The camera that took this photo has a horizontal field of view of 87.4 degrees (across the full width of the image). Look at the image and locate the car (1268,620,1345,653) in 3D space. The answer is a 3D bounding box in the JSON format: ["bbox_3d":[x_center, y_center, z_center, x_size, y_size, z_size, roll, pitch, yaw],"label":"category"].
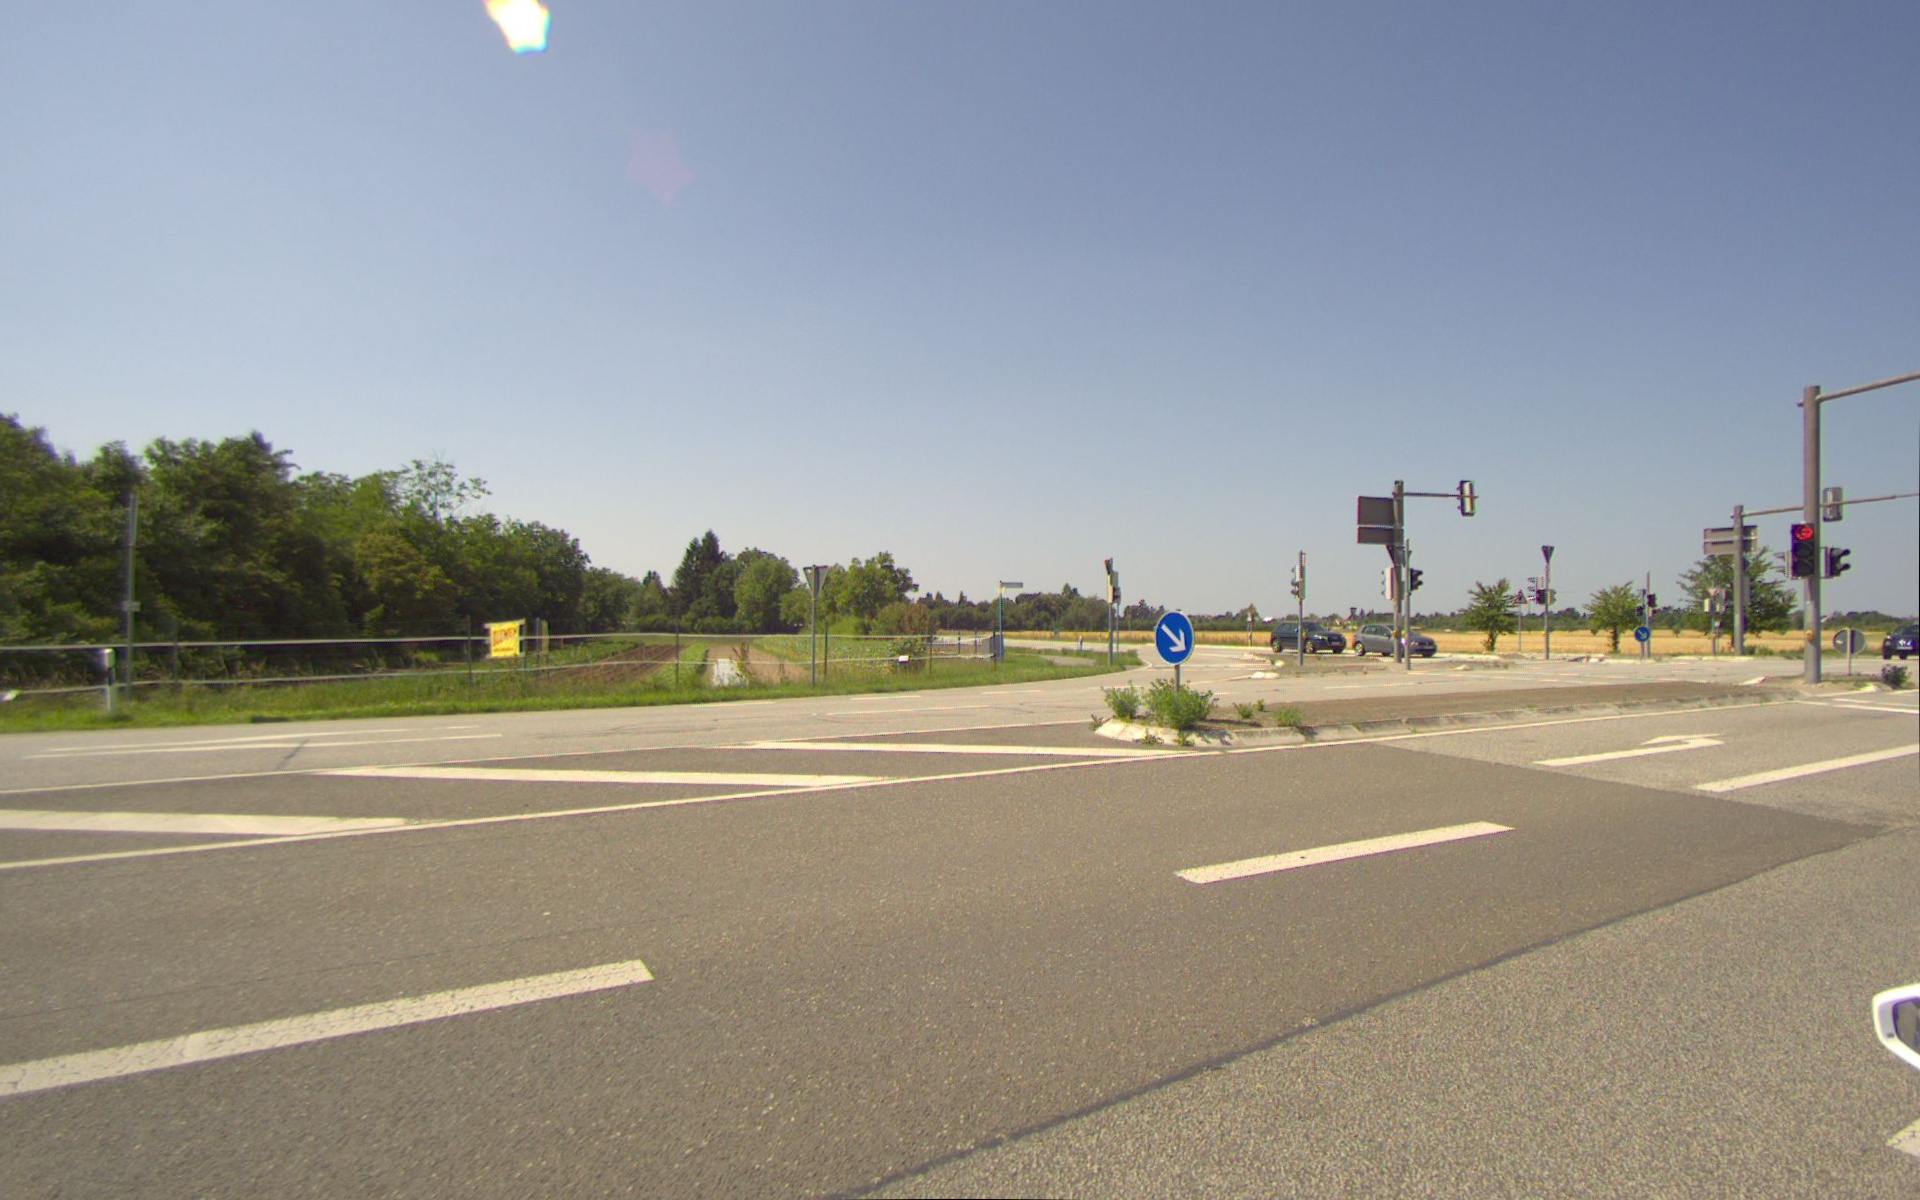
[{"bbox_3d":[17.749,1.887,51.631,1.607,1.615,4.357,0,-2,-15],"label":"car"}]

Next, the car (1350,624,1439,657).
[{"bbox_3d":[19.613,1.802,45.519,1.608,1.405,3.866,0,-1,-17],"label":"car"}]

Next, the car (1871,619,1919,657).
[{"bbox_3d":[42.727,1.709,45.115,4.263,1.621,1.818,2,-2,-35],"label":"car"}]
